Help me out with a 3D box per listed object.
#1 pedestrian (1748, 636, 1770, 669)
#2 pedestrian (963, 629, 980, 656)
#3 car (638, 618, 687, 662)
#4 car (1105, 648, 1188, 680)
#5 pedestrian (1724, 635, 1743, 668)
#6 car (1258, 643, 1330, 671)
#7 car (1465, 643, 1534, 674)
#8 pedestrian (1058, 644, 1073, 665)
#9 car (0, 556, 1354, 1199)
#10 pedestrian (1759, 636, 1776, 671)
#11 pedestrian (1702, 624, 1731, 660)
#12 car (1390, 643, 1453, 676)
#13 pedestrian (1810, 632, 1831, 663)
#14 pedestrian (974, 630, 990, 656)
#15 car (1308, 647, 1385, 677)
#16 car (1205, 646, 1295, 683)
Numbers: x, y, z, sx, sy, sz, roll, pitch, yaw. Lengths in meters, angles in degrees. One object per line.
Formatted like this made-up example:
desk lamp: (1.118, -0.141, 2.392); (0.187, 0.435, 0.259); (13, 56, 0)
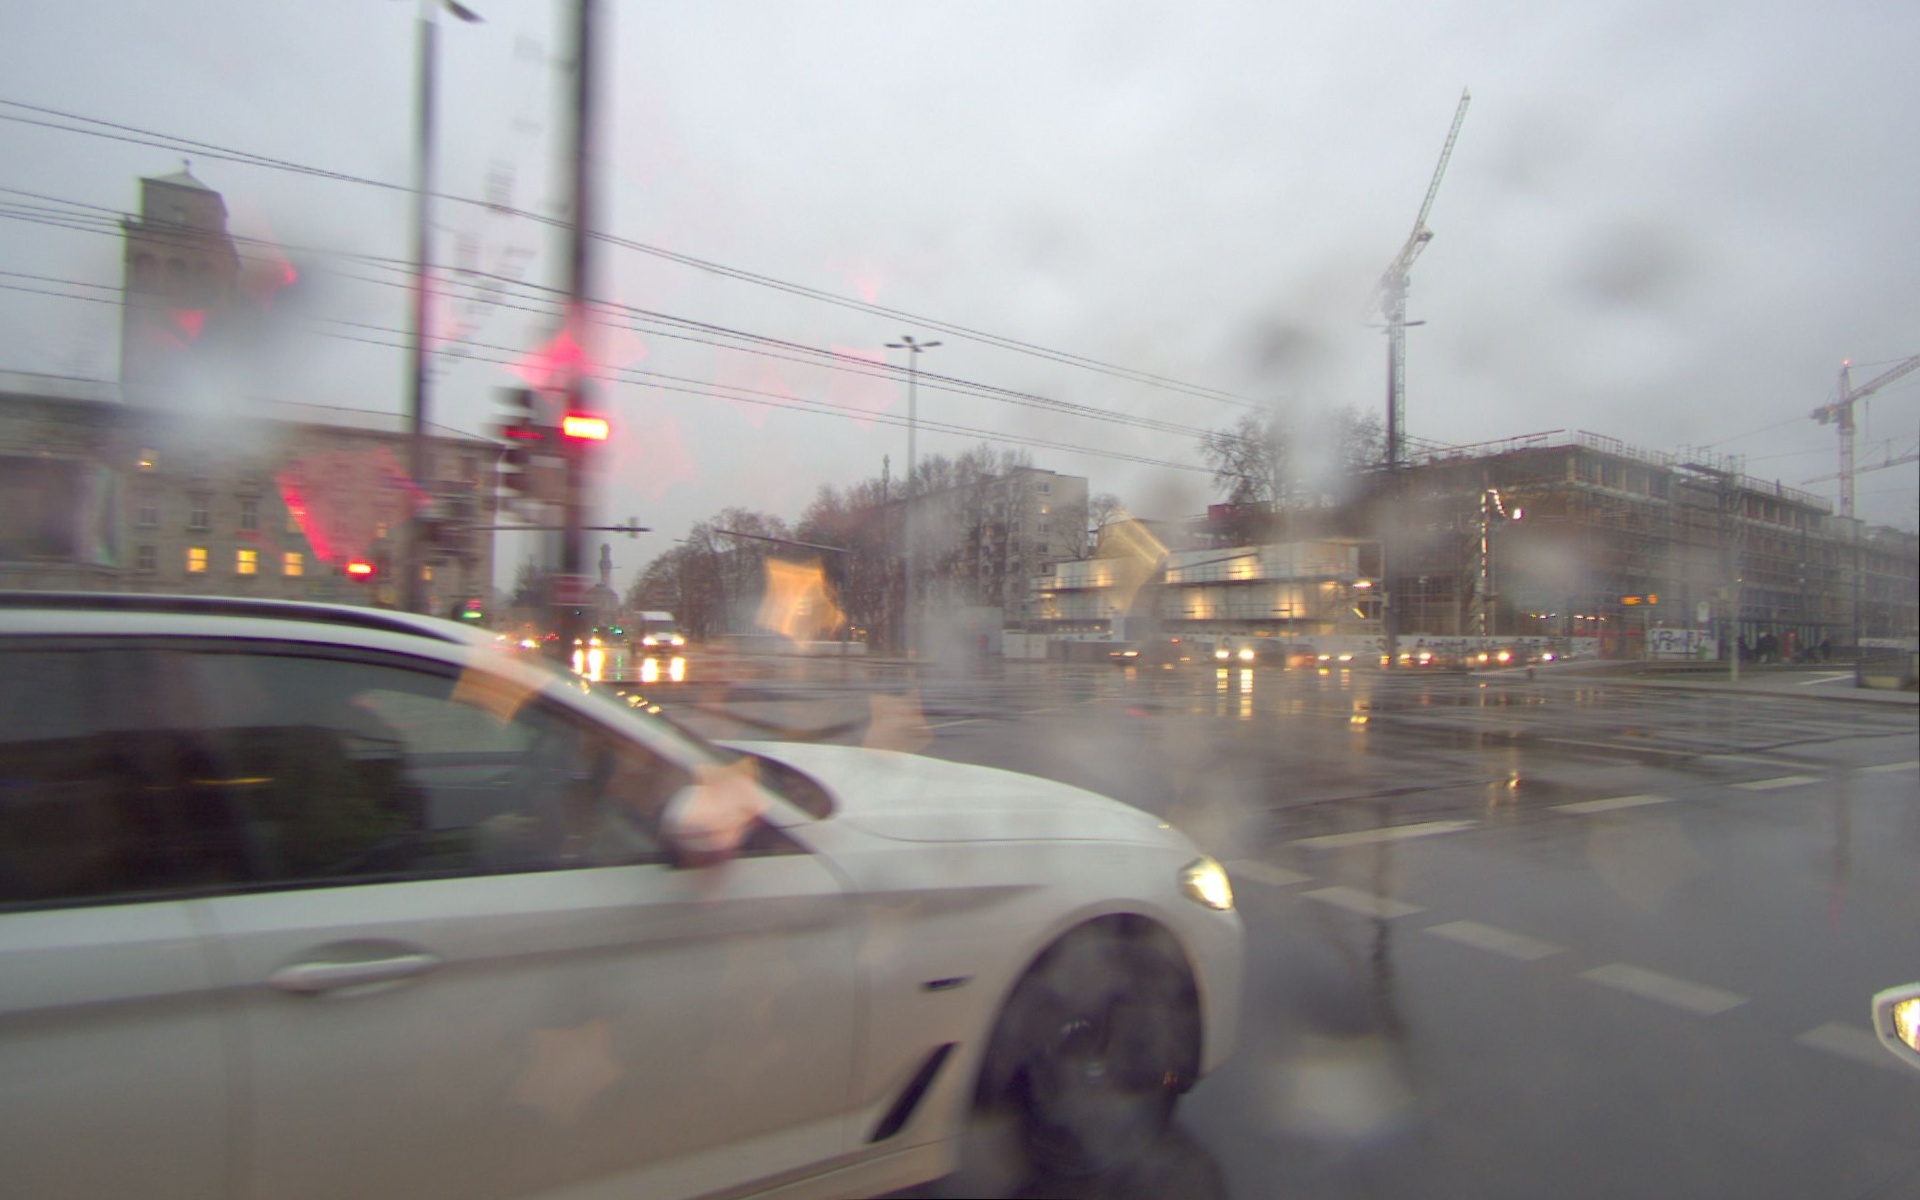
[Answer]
pedestrian: (46.996, 3.090, 59.092); (0.754, 1.922, 0.761); (3, -1, -31)
pedestrian: (0.851, 3.199, 75.351); (0.810, 1.959, 0.915); (2, 0, -38)
car: (-17.253, 2.274, 58.139); (2.032, 2.454, 4.732); (1, -2, -25)
car: (9.595, 3.292, 51.650); (3.956, 1.550, 1.983); (2, -2, -32)
pedestrian: (44.801, 2.969, 58.150); (0.547, 1.905, 0.695); (2, 0, -32)
car: (19.688, 3.341, 59.217); (4.298, 1.550, 1.979); (3, -3, -38)
car: (34.739, 3.762, 64.722); (3.947, 1.814, 1.987); (2, -1, -26)
pedestrian: (7.148, 3.706, 68.281); (0.716, 1.407, 0.725); (2, -2, -29)
car: (-1.267, 0.736, 2.581); (4.510, 1.506, 2.006); (2, -2, -33)
pedestrian: (48.007, 3.175, 59.703); (0.659, 1.994, 0.566); (2, 1, -37)
pedestrian: (43.580, 2.401, 57.887); (1.080, 2.040, 0.938); (2, 0, -28)
car: (27.602, 3.535, 60.032); (3.965, 1.852, 1.851); (2, -1, -39)
pedestrian: (57.910, 3.193, 67.595); (1.086, 2.040, 0.933); (2, 0, -42)
pedestrian: (1.680, 3.308, 76.682); (0.810, 1.959, 0.915); (2, 0, -38)
car: (21.064, 3.350, 54.699); (4.580, 1.550, 2.058); (3, -3, -41)
car: (13.820, 3.063, 47.837); (3.956, 1.678, 1.983); (2, -2, -32)
